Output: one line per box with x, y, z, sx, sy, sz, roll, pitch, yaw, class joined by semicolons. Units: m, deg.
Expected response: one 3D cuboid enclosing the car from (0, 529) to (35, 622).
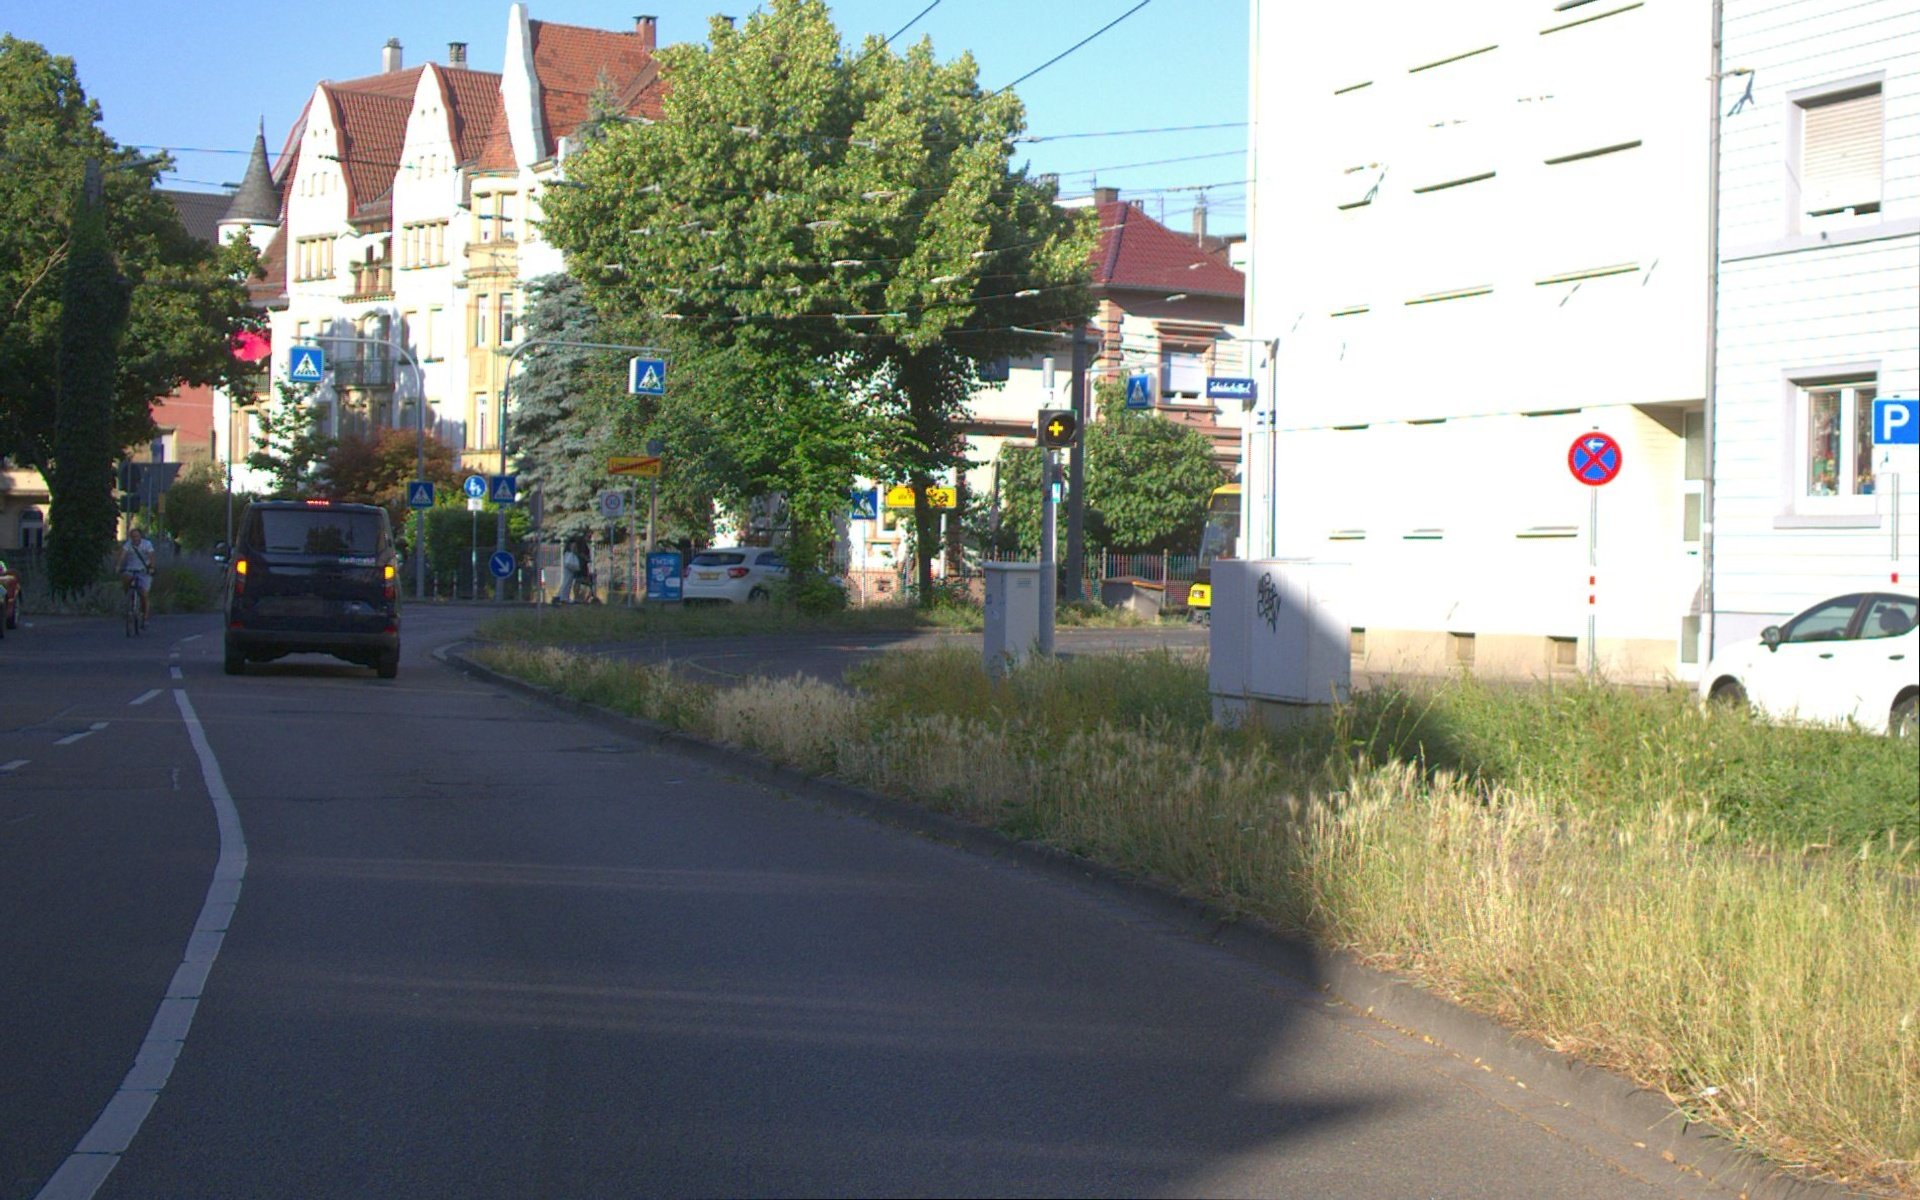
-16.441;-0.430;56.303;1.708;1.461;4.593;3;1;-6;car

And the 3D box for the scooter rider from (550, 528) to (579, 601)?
-9.049;-0.807;78.728;0.606;1.667;0.655;0;1;-2;scooter rider

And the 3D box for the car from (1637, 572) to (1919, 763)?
7.636;0.509;27.993;1.993;1.381;4.447;0;2;-23;car

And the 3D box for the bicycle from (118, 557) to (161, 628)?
-12.710;-0.126;53.301;0.622;1.078;1.784;0;0;-13;bicycle

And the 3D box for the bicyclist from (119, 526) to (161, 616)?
-12.720;-0.448;53.347;0.622;1.375;0.801;0;0;-13;bicyclist

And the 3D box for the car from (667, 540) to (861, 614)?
-4.071;-0.498;71.588;1.964;1.500;3.676;1;1;44;car

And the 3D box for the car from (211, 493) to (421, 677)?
-7.511;-0.207;40.447;1.993;2.007;4.001;2;1;-5;car

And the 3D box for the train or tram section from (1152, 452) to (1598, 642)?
8.391;-0.998;68.362;9.891;3.543;2.783;0;1;-41;train or tram section

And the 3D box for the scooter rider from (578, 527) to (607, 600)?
-8.426;-0.831;78.763;0.606;1.667;0.655;0;1;-2;scooter rider

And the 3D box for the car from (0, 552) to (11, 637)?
-14.984;-0.122;50.408;1.664;1.269;4.027;3;0;-10;car
